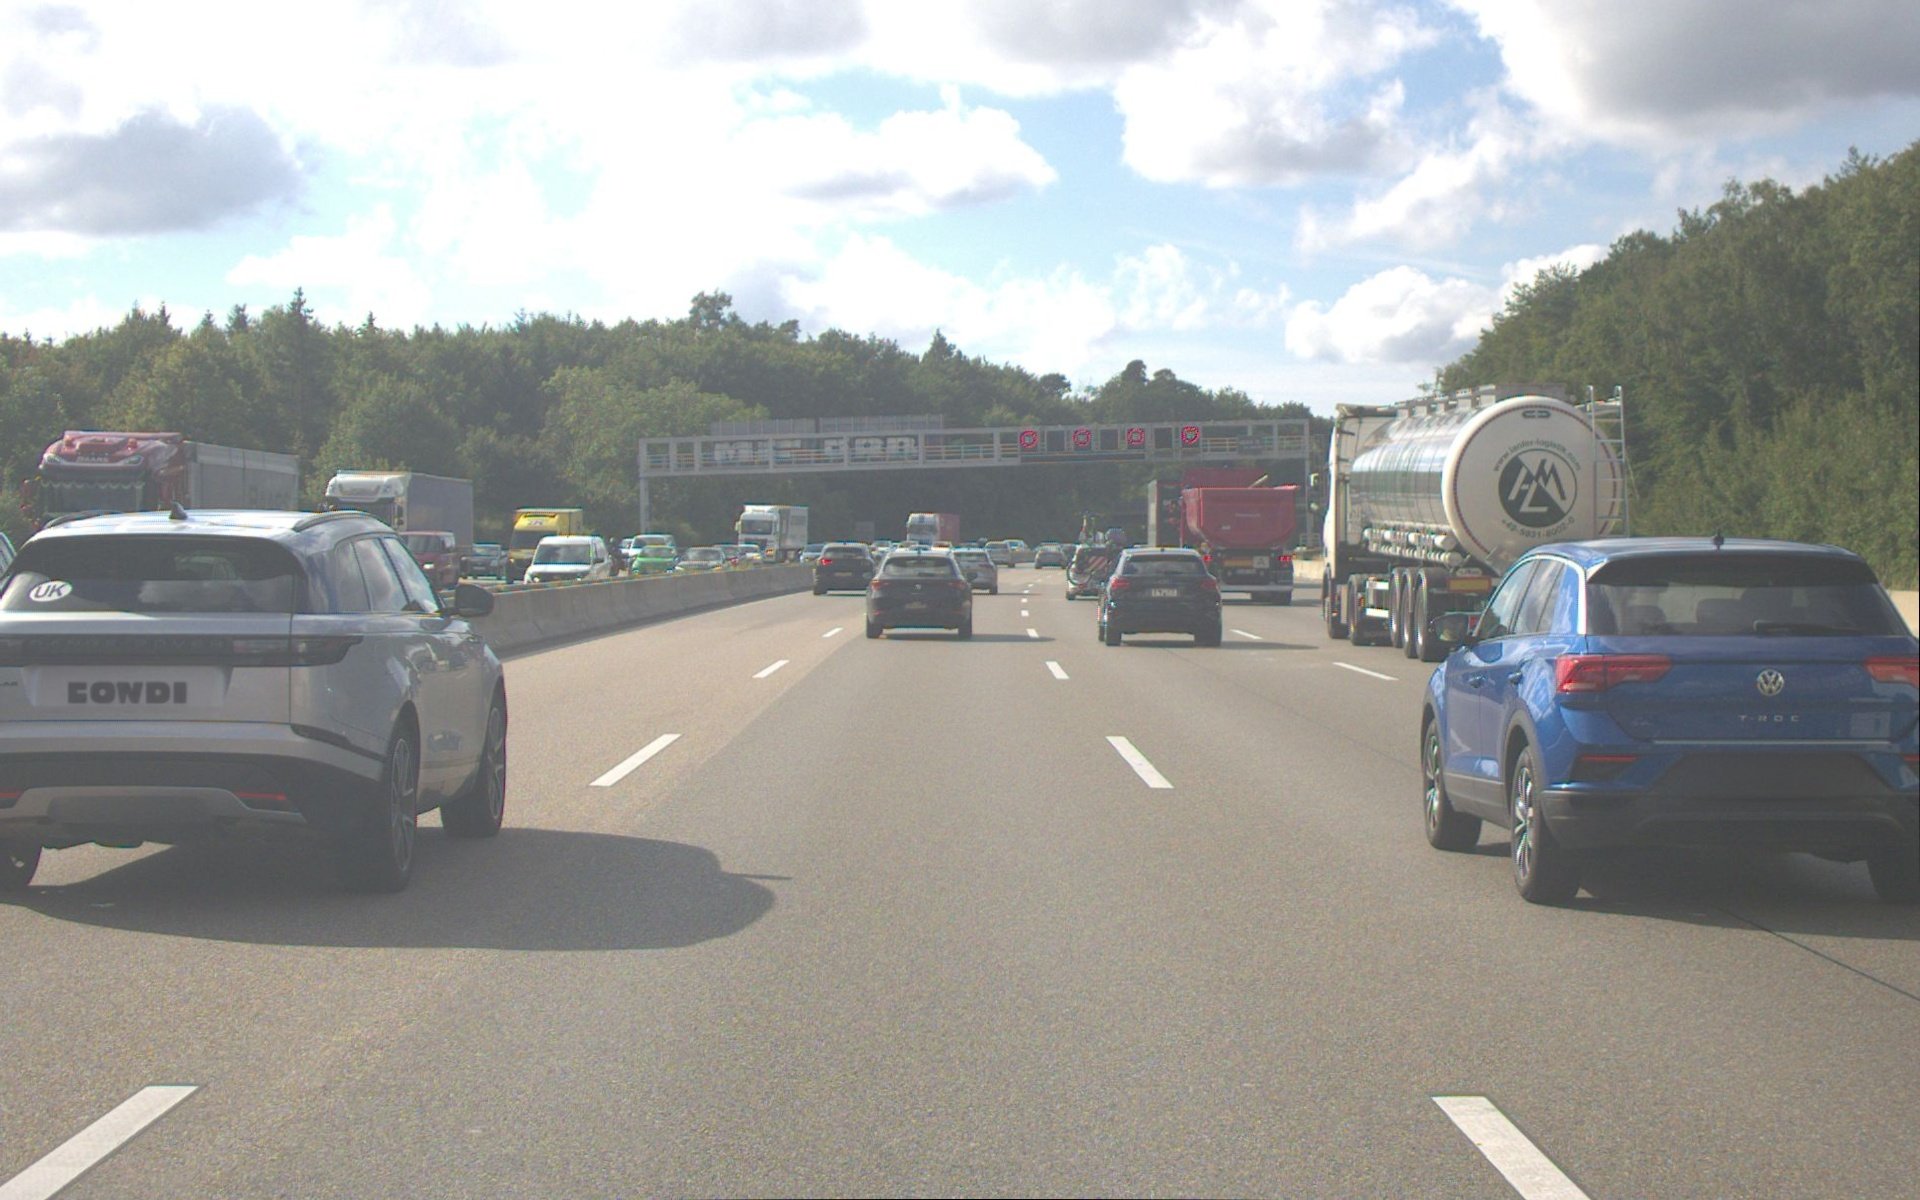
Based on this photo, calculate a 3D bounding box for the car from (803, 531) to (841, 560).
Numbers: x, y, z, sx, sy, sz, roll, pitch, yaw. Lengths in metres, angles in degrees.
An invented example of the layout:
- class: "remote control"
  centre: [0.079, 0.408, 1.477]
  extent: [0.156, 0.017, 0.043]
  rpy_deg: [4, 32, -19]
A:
- class: "car"
  centre: [-7.533, -2.990, 187.909]
  extent: [1.863, 1.546, 4.662]
  rpy_deg: [0, 1, 1]

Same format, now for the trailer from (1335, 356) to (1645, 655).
- class: "trailer"
  centre: [7.338, -1.305, 49.328]
  extent: [2.649, 3.754, 11.860]
  rpy_deg: [0, 1, 0]

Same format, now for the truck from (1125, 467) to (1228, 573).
- class: "truck"
  centre: [8.242, -3.060, 132.045]
  extent: [3.118, 3.921, 10.412]
  rpy_deg: [0, 1, -1]

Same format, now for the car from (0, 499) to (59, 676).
- class: "car"
  centre: [-10.234, -0.109, 32.188]
  extent: [2.155, 1.694, 5.351]
  rpy_deg: [0, 1, 0]

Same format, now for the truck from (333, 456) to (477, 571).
- class: "truck"
  centre: [-20.631, -3.180, 128.621]
  extent: [2.819, 4.080, 13.845]
  rpy_deg: [0, 1, 1]

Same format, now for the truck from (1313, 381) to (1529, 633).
- class: "truck"
  centre: [7.323, -1.465, 55.291]
  extent: [2.649, 3.810, 6.082]
  rpy_deg: [0, 1, 0]

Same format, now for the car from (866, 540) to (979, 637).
- class: "car"
  centre: [-0.605, -0.216, 57.180]
  extent: [1.822, 1.541, 4.000]
  rpy_deg: [0, 1, 0]

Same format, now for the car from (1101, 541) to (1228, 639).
- class: "car"
  centre: [3.152, -0.185, 53.643]
  extent: [1.822, 1.452, 4.000]
  rpy_deg: [0, 1, 1]

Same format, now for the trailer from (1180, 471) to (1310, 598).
- class: "trailer"
  centre: [7.575, -1.810, 92.418]
  extent: [2.710, 3.220, 9.733]
  rpy_deg: [1, 2, 0]

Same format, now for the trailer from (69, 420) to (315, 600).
- class: "trailer"
  centre: [-17.452, -2.020, 79.051]
  extent: [2.967, 3.845, 11.281]
  rpy_deg: [0, 1, 1]

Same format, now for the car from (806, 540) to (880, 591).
- class: "car"
  centre: [-3.526, -1.062, 104.657]
  extent: [1.942, 1.452, 4.000]
  rpy_deg: [-1, 1, 2]

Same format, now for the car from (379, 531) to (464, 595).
- class: "car"
  centre: [-16.760, -1.166, 107.135]
  extent: [1.847, 1.934, 5.034]
  rpy_deg: [0, 1, 0]

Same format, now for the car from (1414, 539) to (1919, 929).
- class: "car"
  centre: [3.233, 0.486, 15.711]
  extent: [1.773, 1.525, 4.458]
  rpy_deg: [0, 1, 1]

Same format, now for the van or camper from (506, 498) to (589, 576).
- class: "van or camper"
  centre: [-15.971, -2.450, 133.413]
  extent: [2.374, 2.882, 6.506]
  rpy_deg: [-1, 1, 0]

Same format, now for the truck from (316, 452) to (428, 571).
- class: "truck"
  centre: [-20.815, -3.118, 121.975]
  extent: [2.819, 4.080, 6.061]
  rpy_deg: [0, 1, 1]

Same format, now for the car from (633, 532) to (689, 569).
- class: "car"
  centre: [-12.029, -1.989, 138.599]
  extent: [1.784, 1.465, 4.331]
  rpy_deg: [0, 1, 2]

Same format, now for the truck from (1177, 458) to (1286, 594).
- class: "truck"
  centre: [7.633, -2.120, 97.332]
  extent: [2.710, 3.706, 5.817]
  rpy_deg: [1, 2, 1]

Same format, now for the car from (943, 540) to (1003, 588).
- class: "car"
  centre: [0.411, -1.135, 107.748]
  extent: [1.822, 1.452, 4.000]
  rpy_deg: [1, 1, 1]

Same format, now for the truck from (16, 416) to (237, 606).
- class: "truck"
  centre: [-17.580, -1.857, 72.973]
  extent: [2.967, 3.845, 6.765]
  rpy_deg: [0, 1, 1]

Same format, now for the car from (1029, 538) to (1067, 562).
- class: "car"
  centre: [5.416, -3.081, 211.819]
  extent: [2.077, 1.452, 4.001]
  rpy_deg: [-1, 1, -2]

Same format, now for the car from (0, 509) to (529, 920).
- class: "car"
  centre: [-3.324, 0.400, 16.245]
  extent: [2.006, 1.610, 5.301]
  rpy_deg: [1, 1, -1]

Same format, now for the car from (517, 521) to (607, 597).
- class: "car"
  centre: [-10.276, -1.074, 88.994]
  extent: [1.849, 1.872, 4.616]
  rpy_deg: [-1, 1, -1]

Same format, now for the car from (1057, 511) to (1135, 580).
- class: "car"
  centre: [3.787, -1.522, 96.100]
  extent: [1.893, 1.850, 4.101]
  rpy_deg: [1, 1, -1]

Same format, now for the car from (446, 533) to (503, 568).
- class: "car"
  centre: [-20.437, -2.105, 144.824]
  extent: [1.697, 1.465, 4.022]
  rpy_deg: [0, 1, 2]

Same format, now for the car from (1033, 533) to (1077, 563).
- class: "car"
  centre: [4.794, -2.617, 173.342]
  extent: [1.942, 1.452, 4.001]
  rpy_deg: [-1, 1, -2]

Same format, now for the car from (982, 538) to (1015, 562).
- class: "car"
  centre: [2.504, -3.205, 221.152]
  extent: [2.077, 1.452, 4.000]
  rpy_deg: [-1, 1, 1]

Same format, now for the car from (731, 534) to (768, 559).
- class: "car"
  centre: [-12.006, -3.067, 196.569]
  extent: [1.769, 1.389, 4.691]
  rpy_deg: [0, 1, 1]
